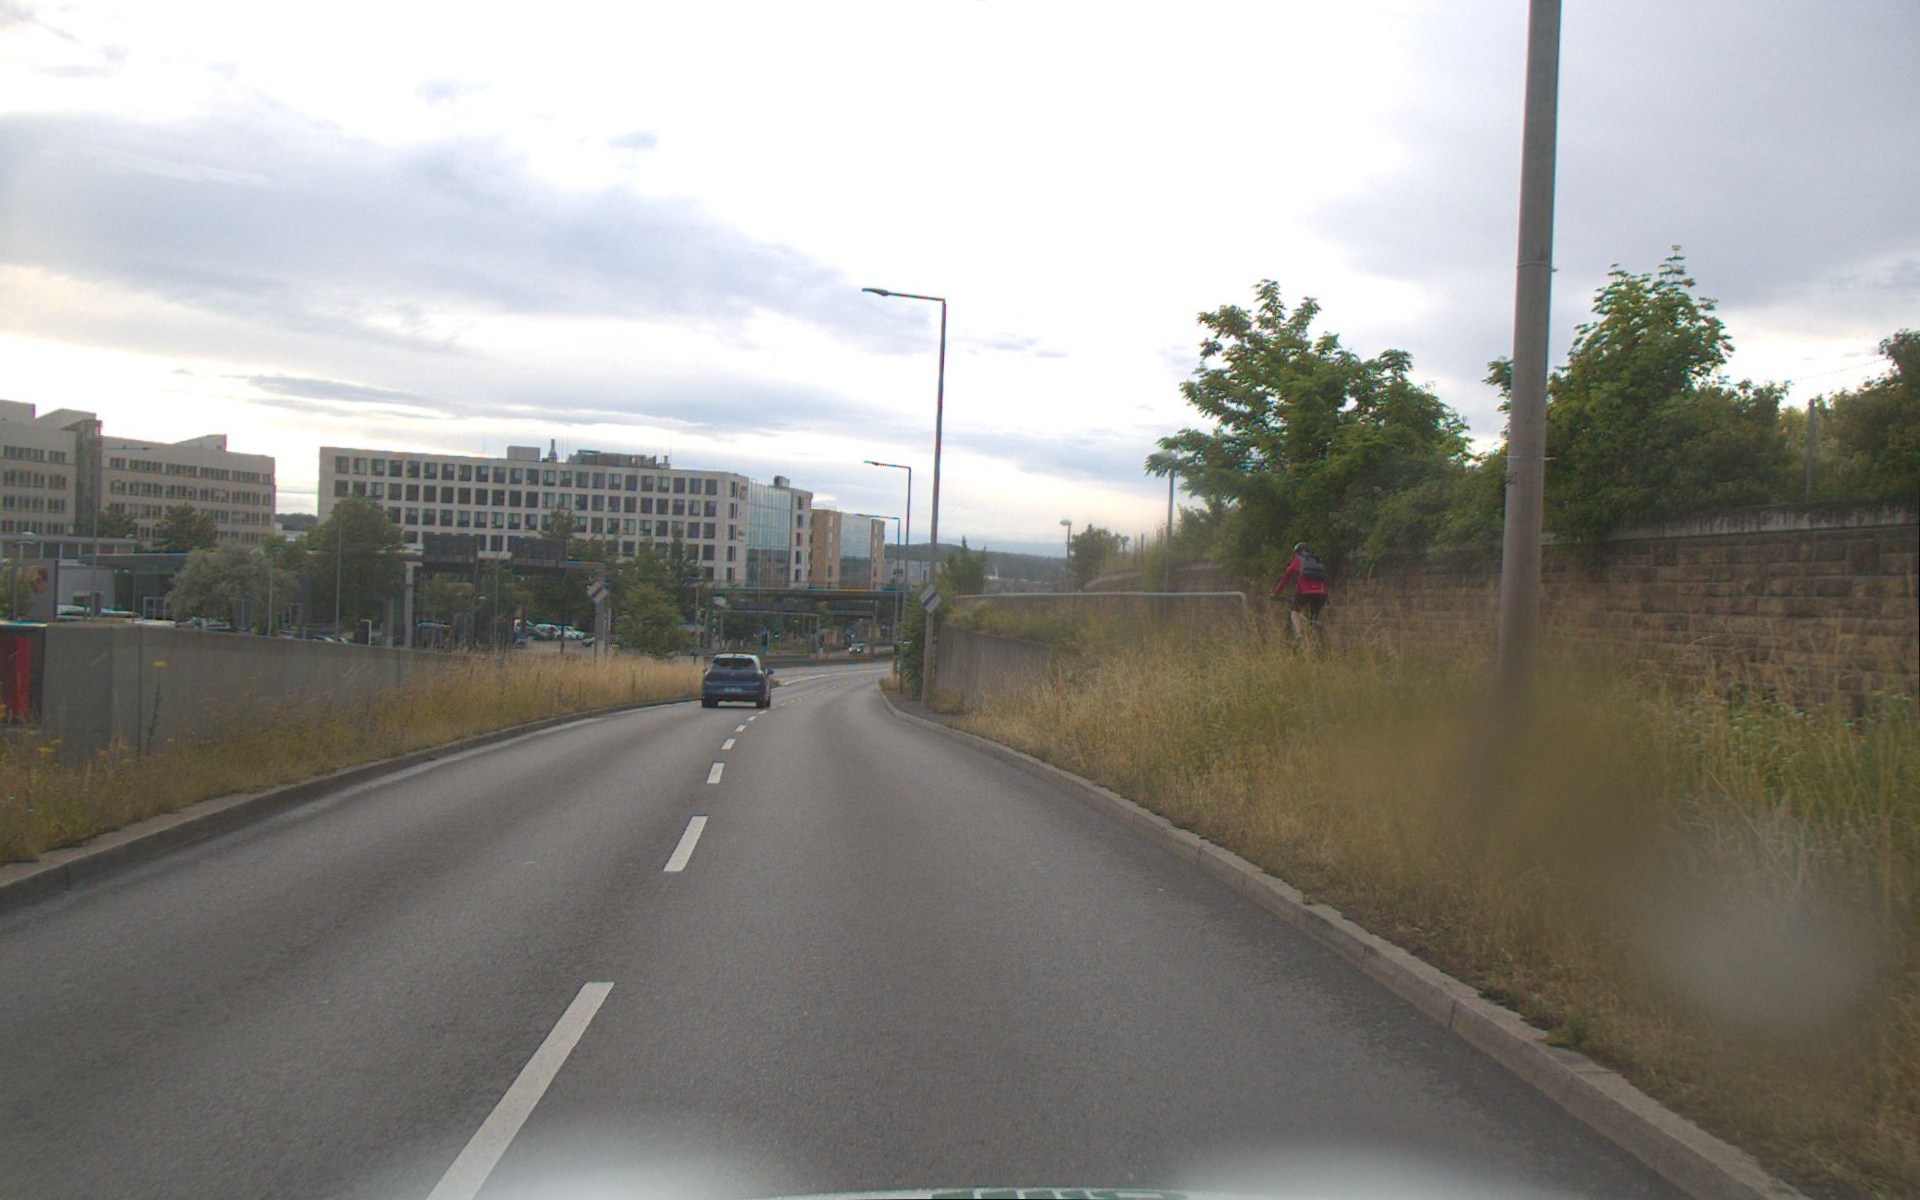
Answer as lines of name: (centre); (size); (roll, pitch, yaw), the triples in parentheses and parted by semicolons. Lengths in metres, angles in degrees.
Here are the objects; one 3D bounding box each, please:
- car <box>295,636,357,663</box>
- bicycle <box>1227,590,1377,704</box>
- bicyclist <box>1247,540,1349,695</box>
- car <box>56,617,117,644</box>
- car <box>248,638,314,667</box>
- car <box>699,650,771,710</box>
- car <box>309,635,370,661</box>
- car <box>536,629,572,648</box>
car: (-49.022, 3.836, 127.853); (3.904, 1.712, 1.925); (5, 1, 5)
bicycle: (4.482, 0.566, 22.027); (0.852, 1.310, 3.482); (4, 0, -6)
bicyclist: (4.483, 0.224, 22.014); (0.852, 1.941, 1.292); (4, 0, -6)
car: (-64.348, 2.228, 121.908); (1.877, 1.712, 4.004); (5, 1, 10)
car: (-49.540, 3.842, 120.636); (3.904, 1.712, 1.925); (5, 1, 5)
car: (-6.226, 2.206, 46.032); (1.714, 1.445, 3.475); (1, 0, -4)
car: (-48.779, 3.765, 130.059); (3.904, 1.712, 1.925); (5, 1, 5)
car: (-51.372, 4.870, 209.255); (3.903, 1.908, 2.002); (5, 1, 10)
